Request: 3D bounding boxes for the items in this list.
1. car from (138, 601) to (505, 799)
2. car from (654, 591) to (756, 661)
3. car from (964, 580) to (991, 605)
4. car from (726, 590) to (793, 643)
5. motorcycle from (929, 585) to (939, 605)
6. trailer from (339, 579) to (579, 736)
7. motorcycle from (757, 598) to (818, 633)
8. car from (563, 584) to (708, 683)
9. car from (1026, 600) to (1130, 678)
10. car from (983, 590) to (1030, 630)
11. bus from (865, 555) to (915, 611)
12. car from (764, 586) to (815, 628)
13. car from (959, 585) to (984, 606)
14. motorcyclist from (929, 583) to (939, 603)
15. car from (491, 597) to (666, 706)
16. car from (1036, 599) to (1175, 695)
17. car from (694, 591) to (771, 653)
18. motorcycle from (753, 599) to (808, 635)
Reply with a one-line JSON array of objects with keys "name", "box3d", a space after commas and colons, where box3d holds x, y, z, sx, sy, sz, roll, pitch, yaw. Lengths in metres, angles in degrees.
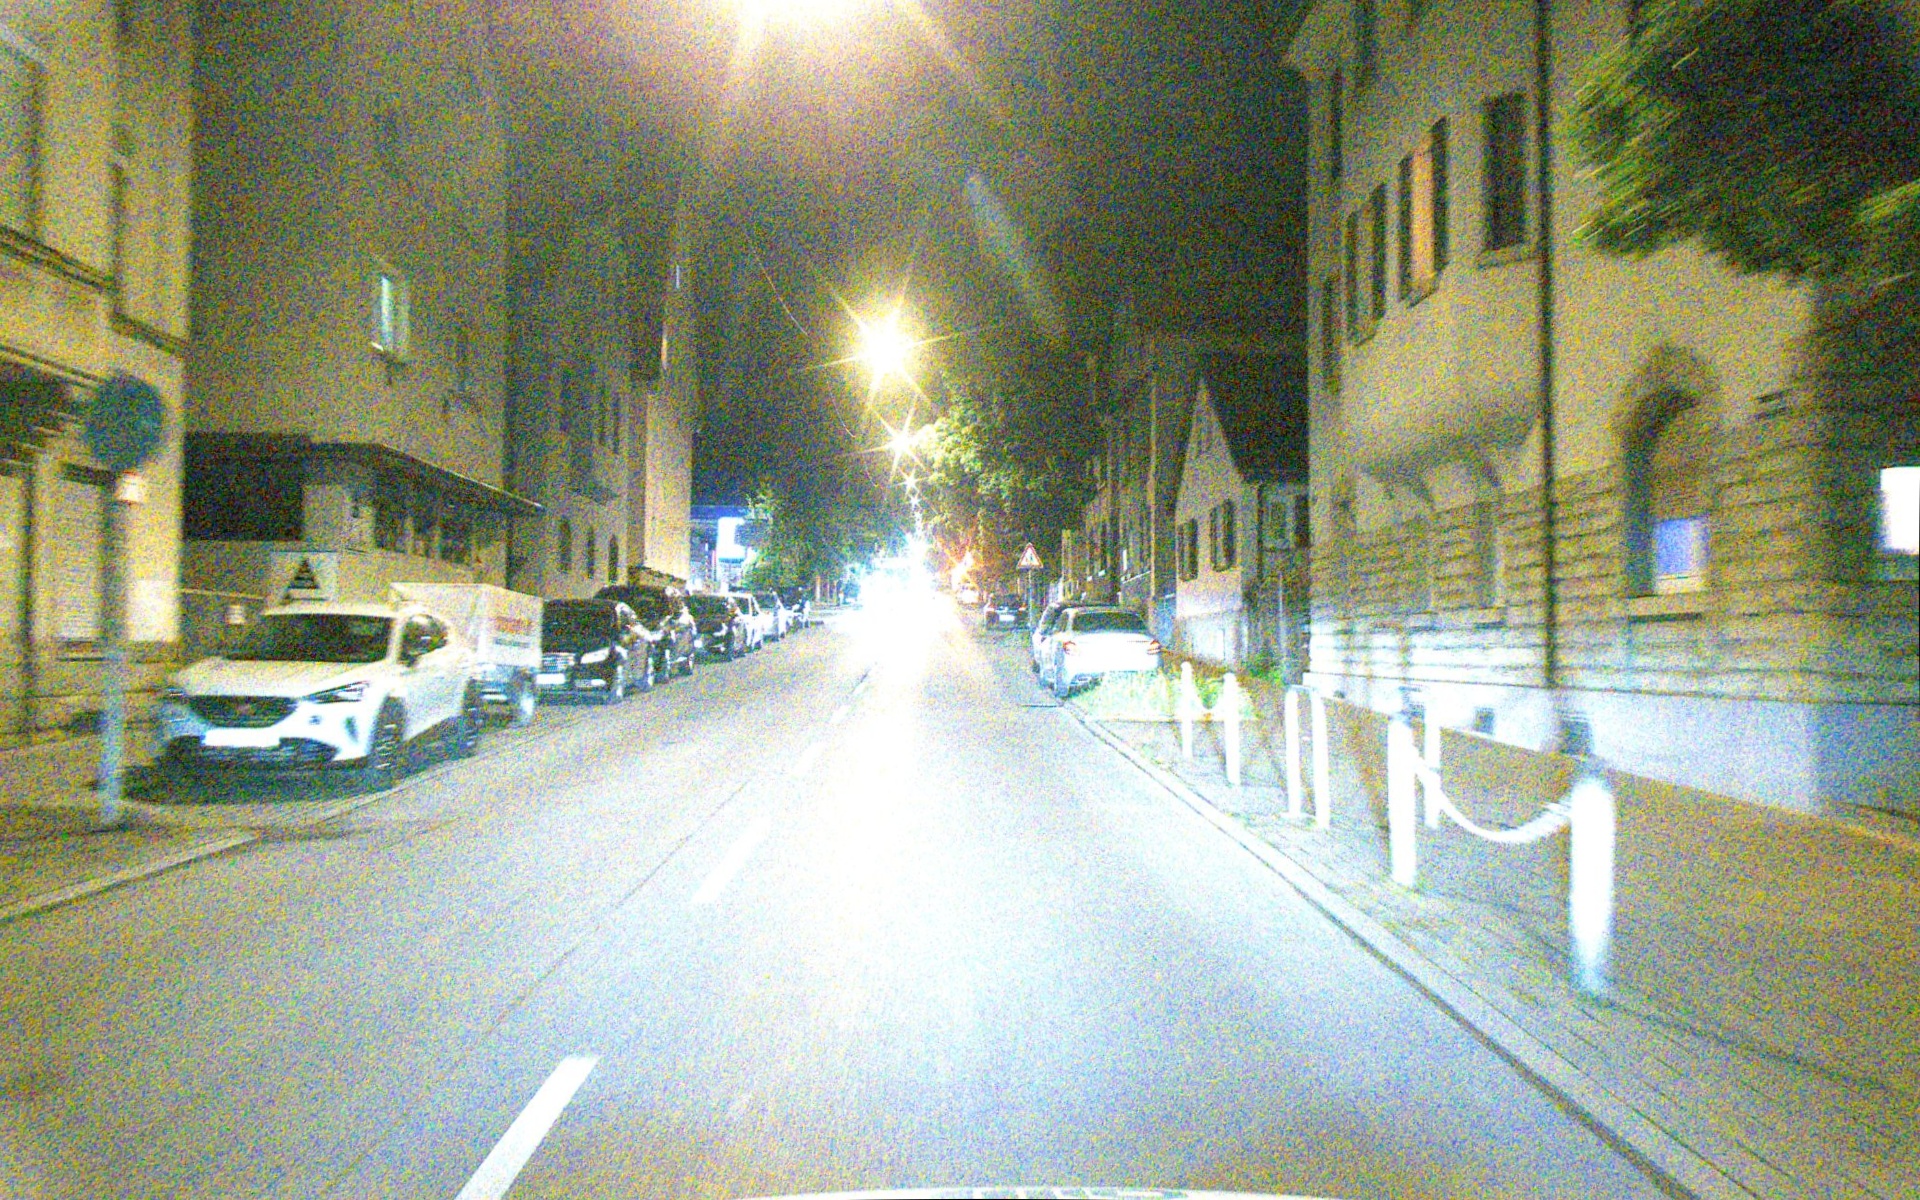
[{"name": "car", "box3d": [-5.539, 0.780, 14.990, 1.778, 1.510, 4.345, 1, 0, -3]}, {"name": "car", "box3d": [-5.929, 0.594, 38.886, 1.826, 1.518, 4.278, 1, 0, -2]}, {"name": "car", "box3d": [1.194, -0.538, 115.693, 1.775, 1.622, 4.273, -1, 1, -1]}, {"name": "car", "box3d": [-6.197, 0.485, 51.442, 1.670, 1.517, 4.226, -1, 1, -2]}, {"name": "motorcycle", "box3d": [-2.427, -0.464, 153.317, 0.912, 1.782, 2.624, 1, 0, -1]}, {"name": "trailer", "box3d": [-5.859, 0.638, 19.761, 1.603, 1.668, 3.440, 1, 0, 3]}, {"name": "motorcycle", "box3d": [-6.028, 0.536, 57.707, 2.162, 1.150, 0.714, 1, 1, 32]}, {"name": "car", "box3d": [-5.897, 0.562, 30.568, 1.798, 1.647, 4.544, 1, 0, -1]}, {"name": "car", "box3d": [2.348, 0.744, 33.750, 1.735, 1.473, 4.018, 0, 0, -2]}, {"name": "car", "box3d": [1.857, 0.370, 66.862, 1.727, 1.502, 4.080, -1, 1, -1]}, {"name": "bus", "box3d": [-4.277, -1.060, 103.217, 2.780, 3.233, 10.497, 1, 1, -1]}, {"name": "car", "box3d": [-6.490, 0.274, 63.138, 1.605, 1.524, 2.765, 1, 0, 1]}, {"name": "car", "box3d": [0.869, -0.388, 129.018, 1.831, 1.553, 4.149, -1, 1, -1]}, {"name": "motorcyclist", "box3d": [-2.424, -0.671, 153.314, 0.831, 1.782, 0.805, 1, -1, -1]}, {"name": "car", "box3d": [-5.736, 0.720, 25.402, 1.798, 1.472, 4.543, 0, 1, -2]}, {"name": "car", "box3d": [2.404, 0.750, 28.450, 1.808, 1.442, 4.643, -2, 0, -2]}, {"name": "car", "box3d": [-5.967, 0.559, 43.708, 1.589, 1.518, 3.779, 1, 0, -2]}, {"name": "motorcycle", "box3d": [-6.045, 0.570, 55.688, 0.710, 1.167, 2.174, -1, 1, -43]}]
